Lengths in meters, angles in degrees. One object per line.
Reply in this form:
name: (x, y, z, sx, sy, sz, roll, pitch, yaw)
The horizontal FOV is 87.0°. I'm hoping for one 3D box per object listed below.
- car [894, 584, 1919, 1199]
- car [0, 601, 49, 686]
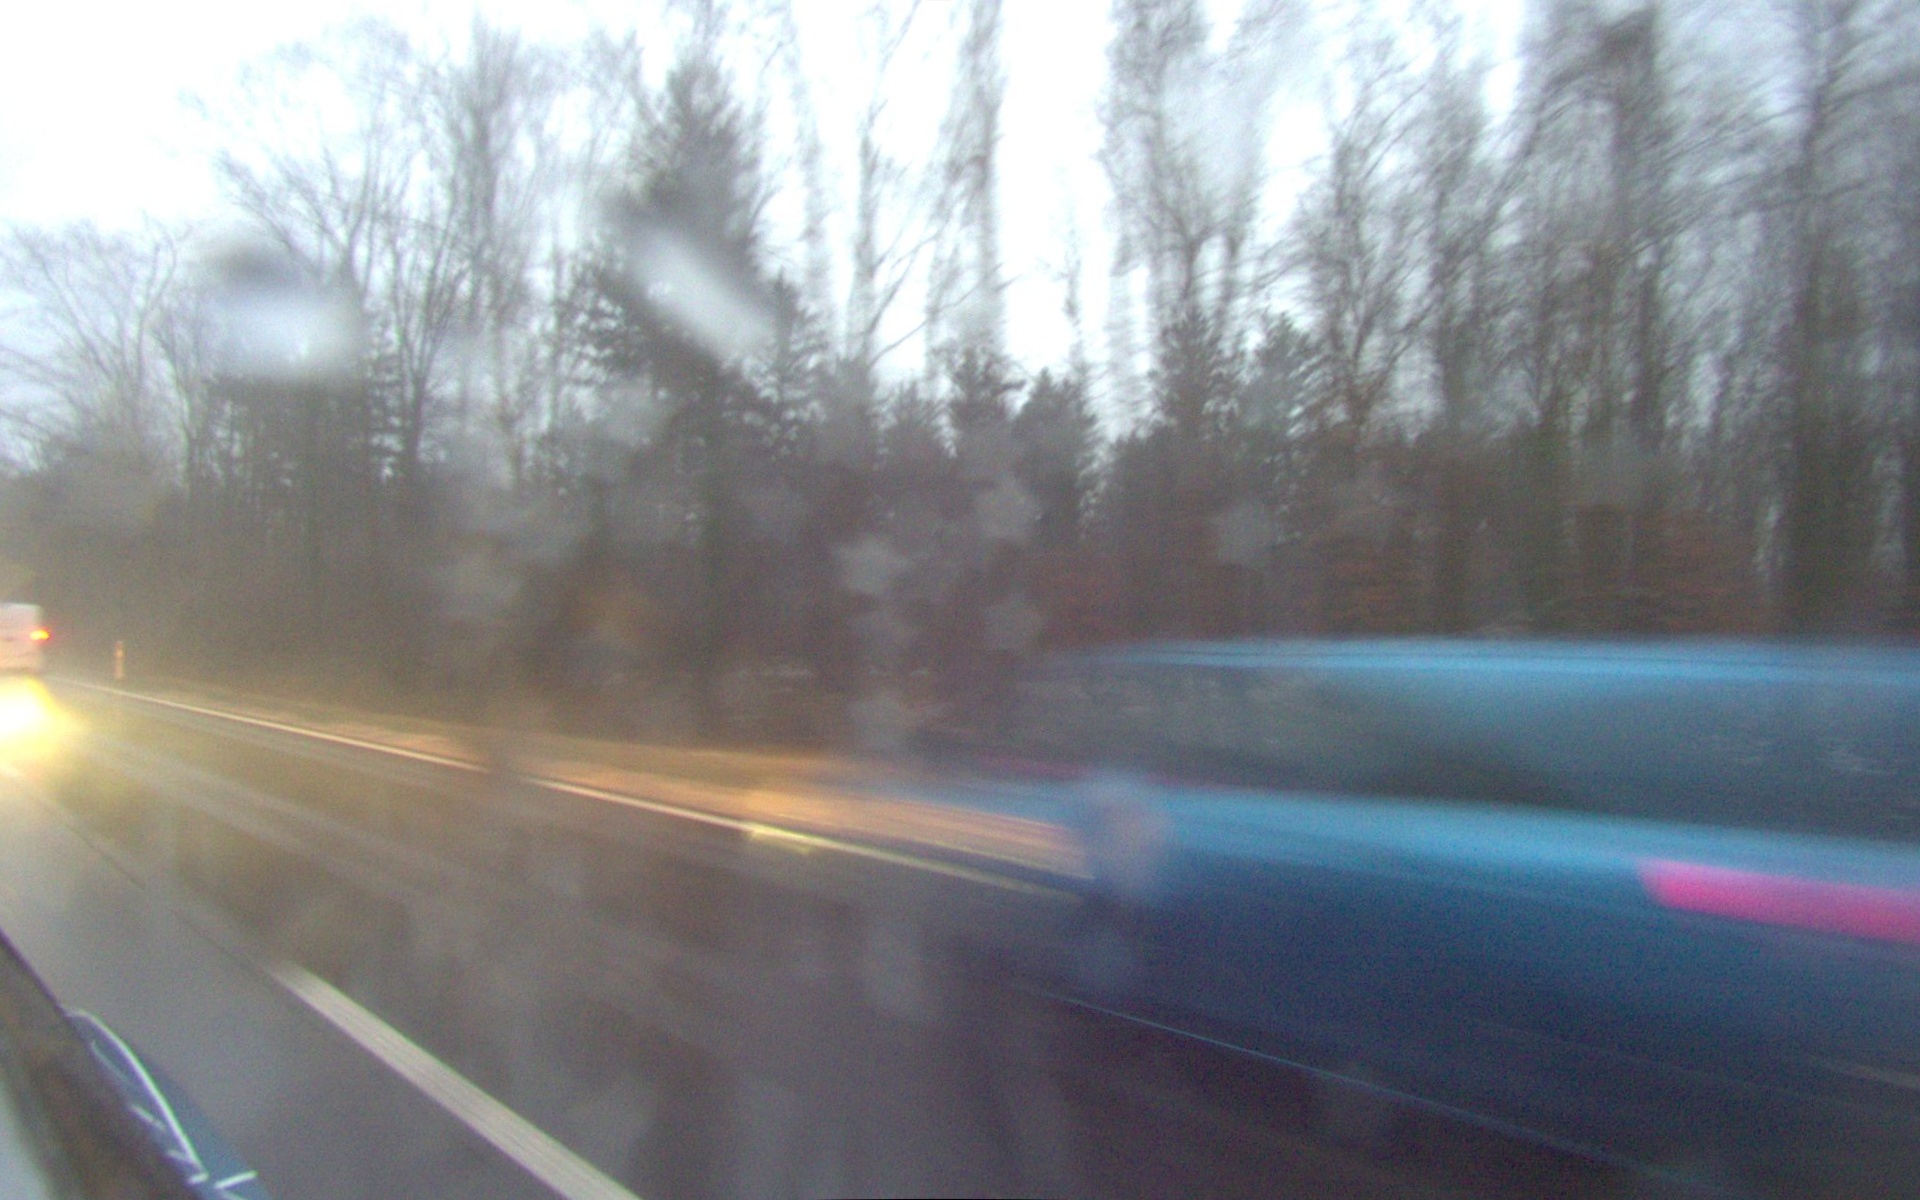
car: (1.697, 0.763, 3.117, 3.636, 1.469, 1.736, -2, -4, 42)
car: (-24.843, 1.075, 25.573, 5.027, 2.004, 1.986, -1, -4, 40)
